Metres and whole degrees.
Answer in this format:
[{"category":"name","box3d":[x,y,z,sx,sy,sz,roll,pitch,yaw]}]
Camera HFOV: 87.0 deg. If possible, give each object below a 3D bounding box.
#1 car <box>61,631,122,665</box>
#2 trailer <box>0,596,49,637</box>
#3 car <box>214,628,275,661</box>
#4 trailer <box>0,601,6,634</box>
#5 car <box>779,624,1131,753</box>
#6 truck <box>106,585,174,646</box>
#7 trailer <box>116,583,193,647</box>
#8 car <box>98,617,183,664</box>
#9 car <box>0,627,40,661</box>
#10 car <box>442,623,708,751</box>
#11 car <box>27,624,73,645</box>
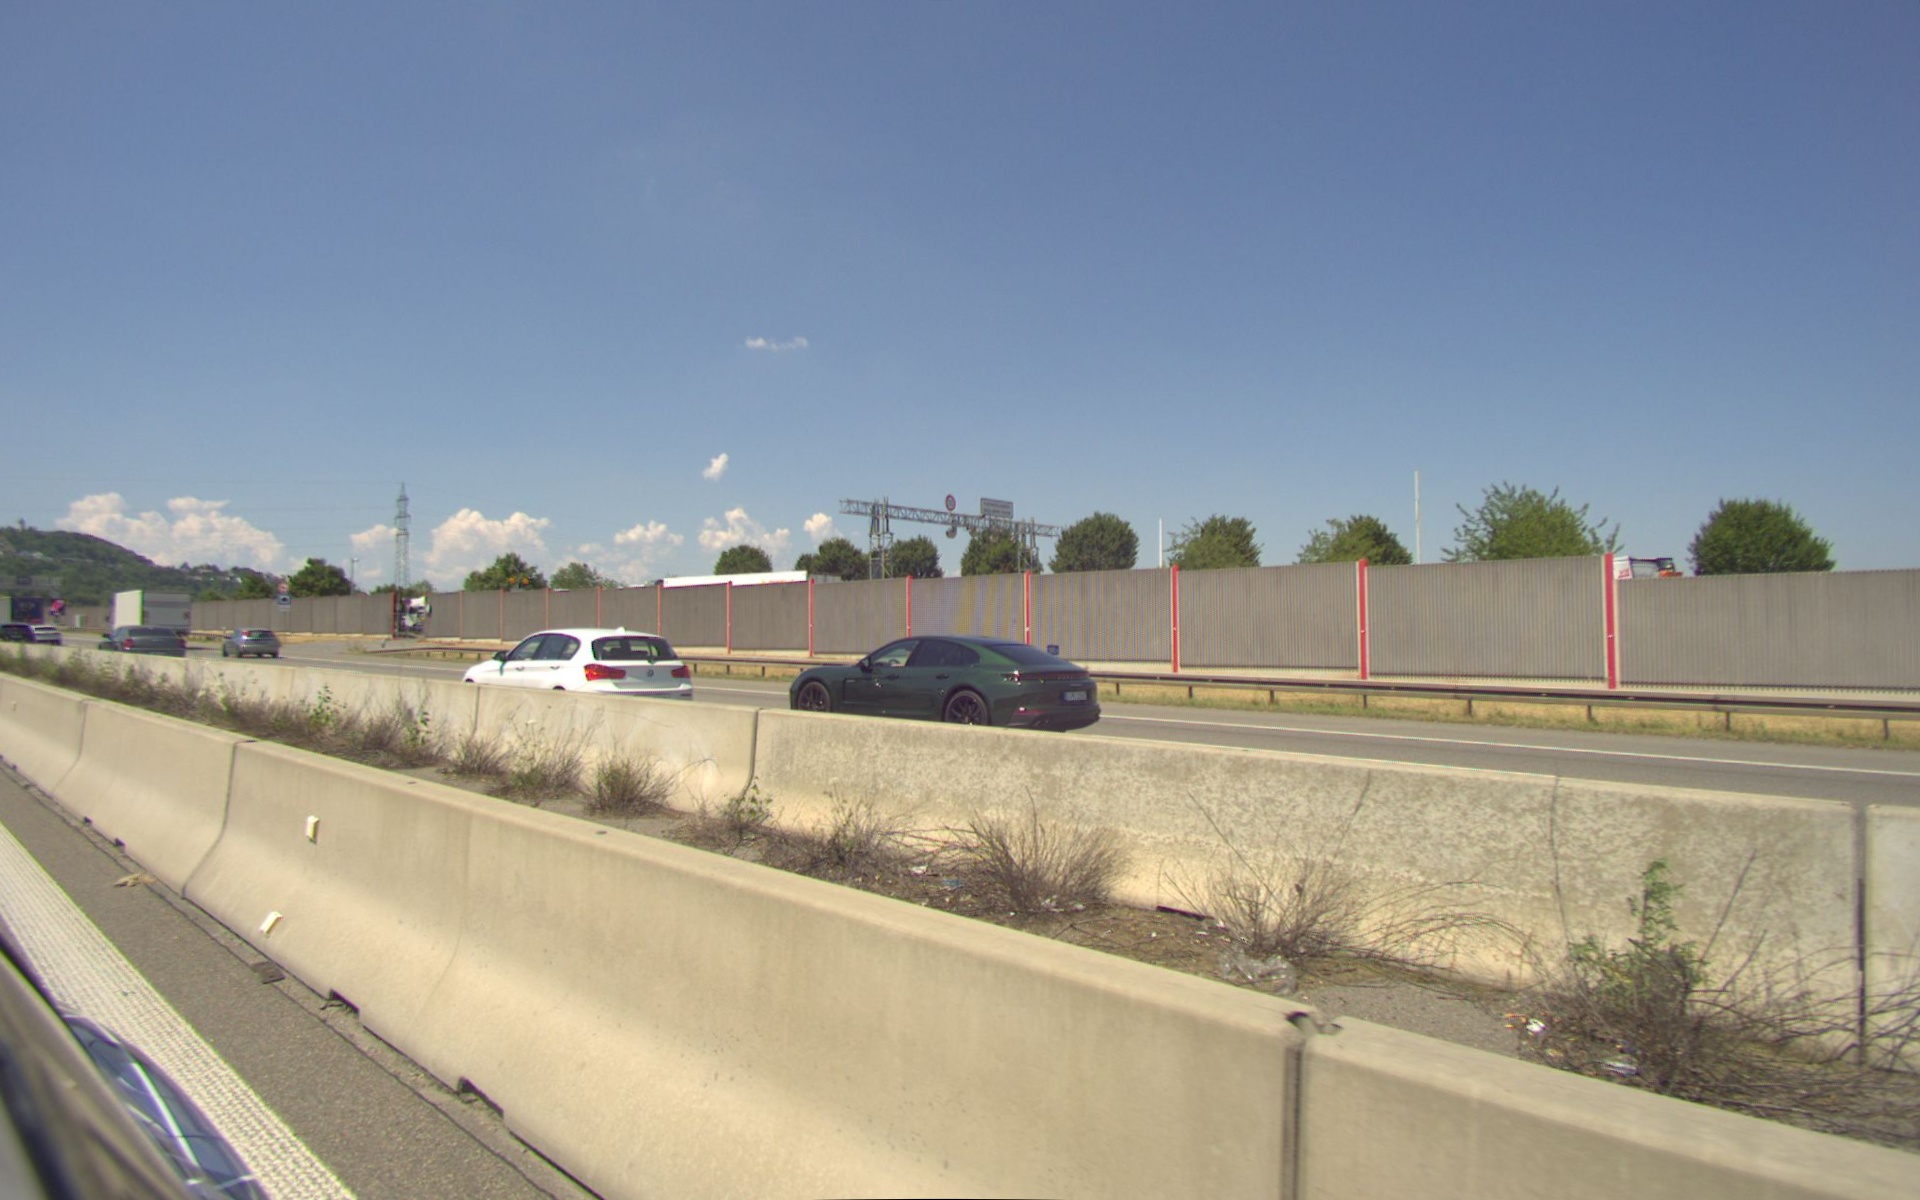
[{"category":"car","box3d":[-47.147,2.567,54.901,3.998,1.772,1.973,-2,-2,41]},{"category":"trailer","box3d":[-99.932,1.738,107.473,15.155,4.097,2.953,-1,-1,41]},{"category":"car","box3d":[-36.103,2.199,51.048,3.998,1.530,1.638,-1,-1,41]},{"category":"trailer","box3d":[-124.693,2.239,128.884,14.383,4.087,3.222,-1,0,41]},{"category":"car","box3d":[-0.226,1.092,14.102,4.960,1.497,1.793,-1,-2,41]},{"category":"truck","box3d":[-54.502,1.041,67.244,4.723,3.903,2.613,-1,-2,41]},{"category":"trailer","box3d":[-51.441,0.988,64.562,6.613,3.903,2.620,-1,-2,41]},{"category":"car","box3d":[-28.446,1.358,35.092,3.998,1.530,1.638,-1,-1,41]},{"category":"car","box3d":[-52.401,2.406,55.812,4.642,1.772,1.973,-2,-2,41]},{"category":"car","box3d":[-5.636,1.120,14.513,4.505,1.530,1.657,-1,-1,41]},{"category":"car","box3d":[-65.745,2.470,73.087,5.101,1.441,1.773,-1,0,40]}]
